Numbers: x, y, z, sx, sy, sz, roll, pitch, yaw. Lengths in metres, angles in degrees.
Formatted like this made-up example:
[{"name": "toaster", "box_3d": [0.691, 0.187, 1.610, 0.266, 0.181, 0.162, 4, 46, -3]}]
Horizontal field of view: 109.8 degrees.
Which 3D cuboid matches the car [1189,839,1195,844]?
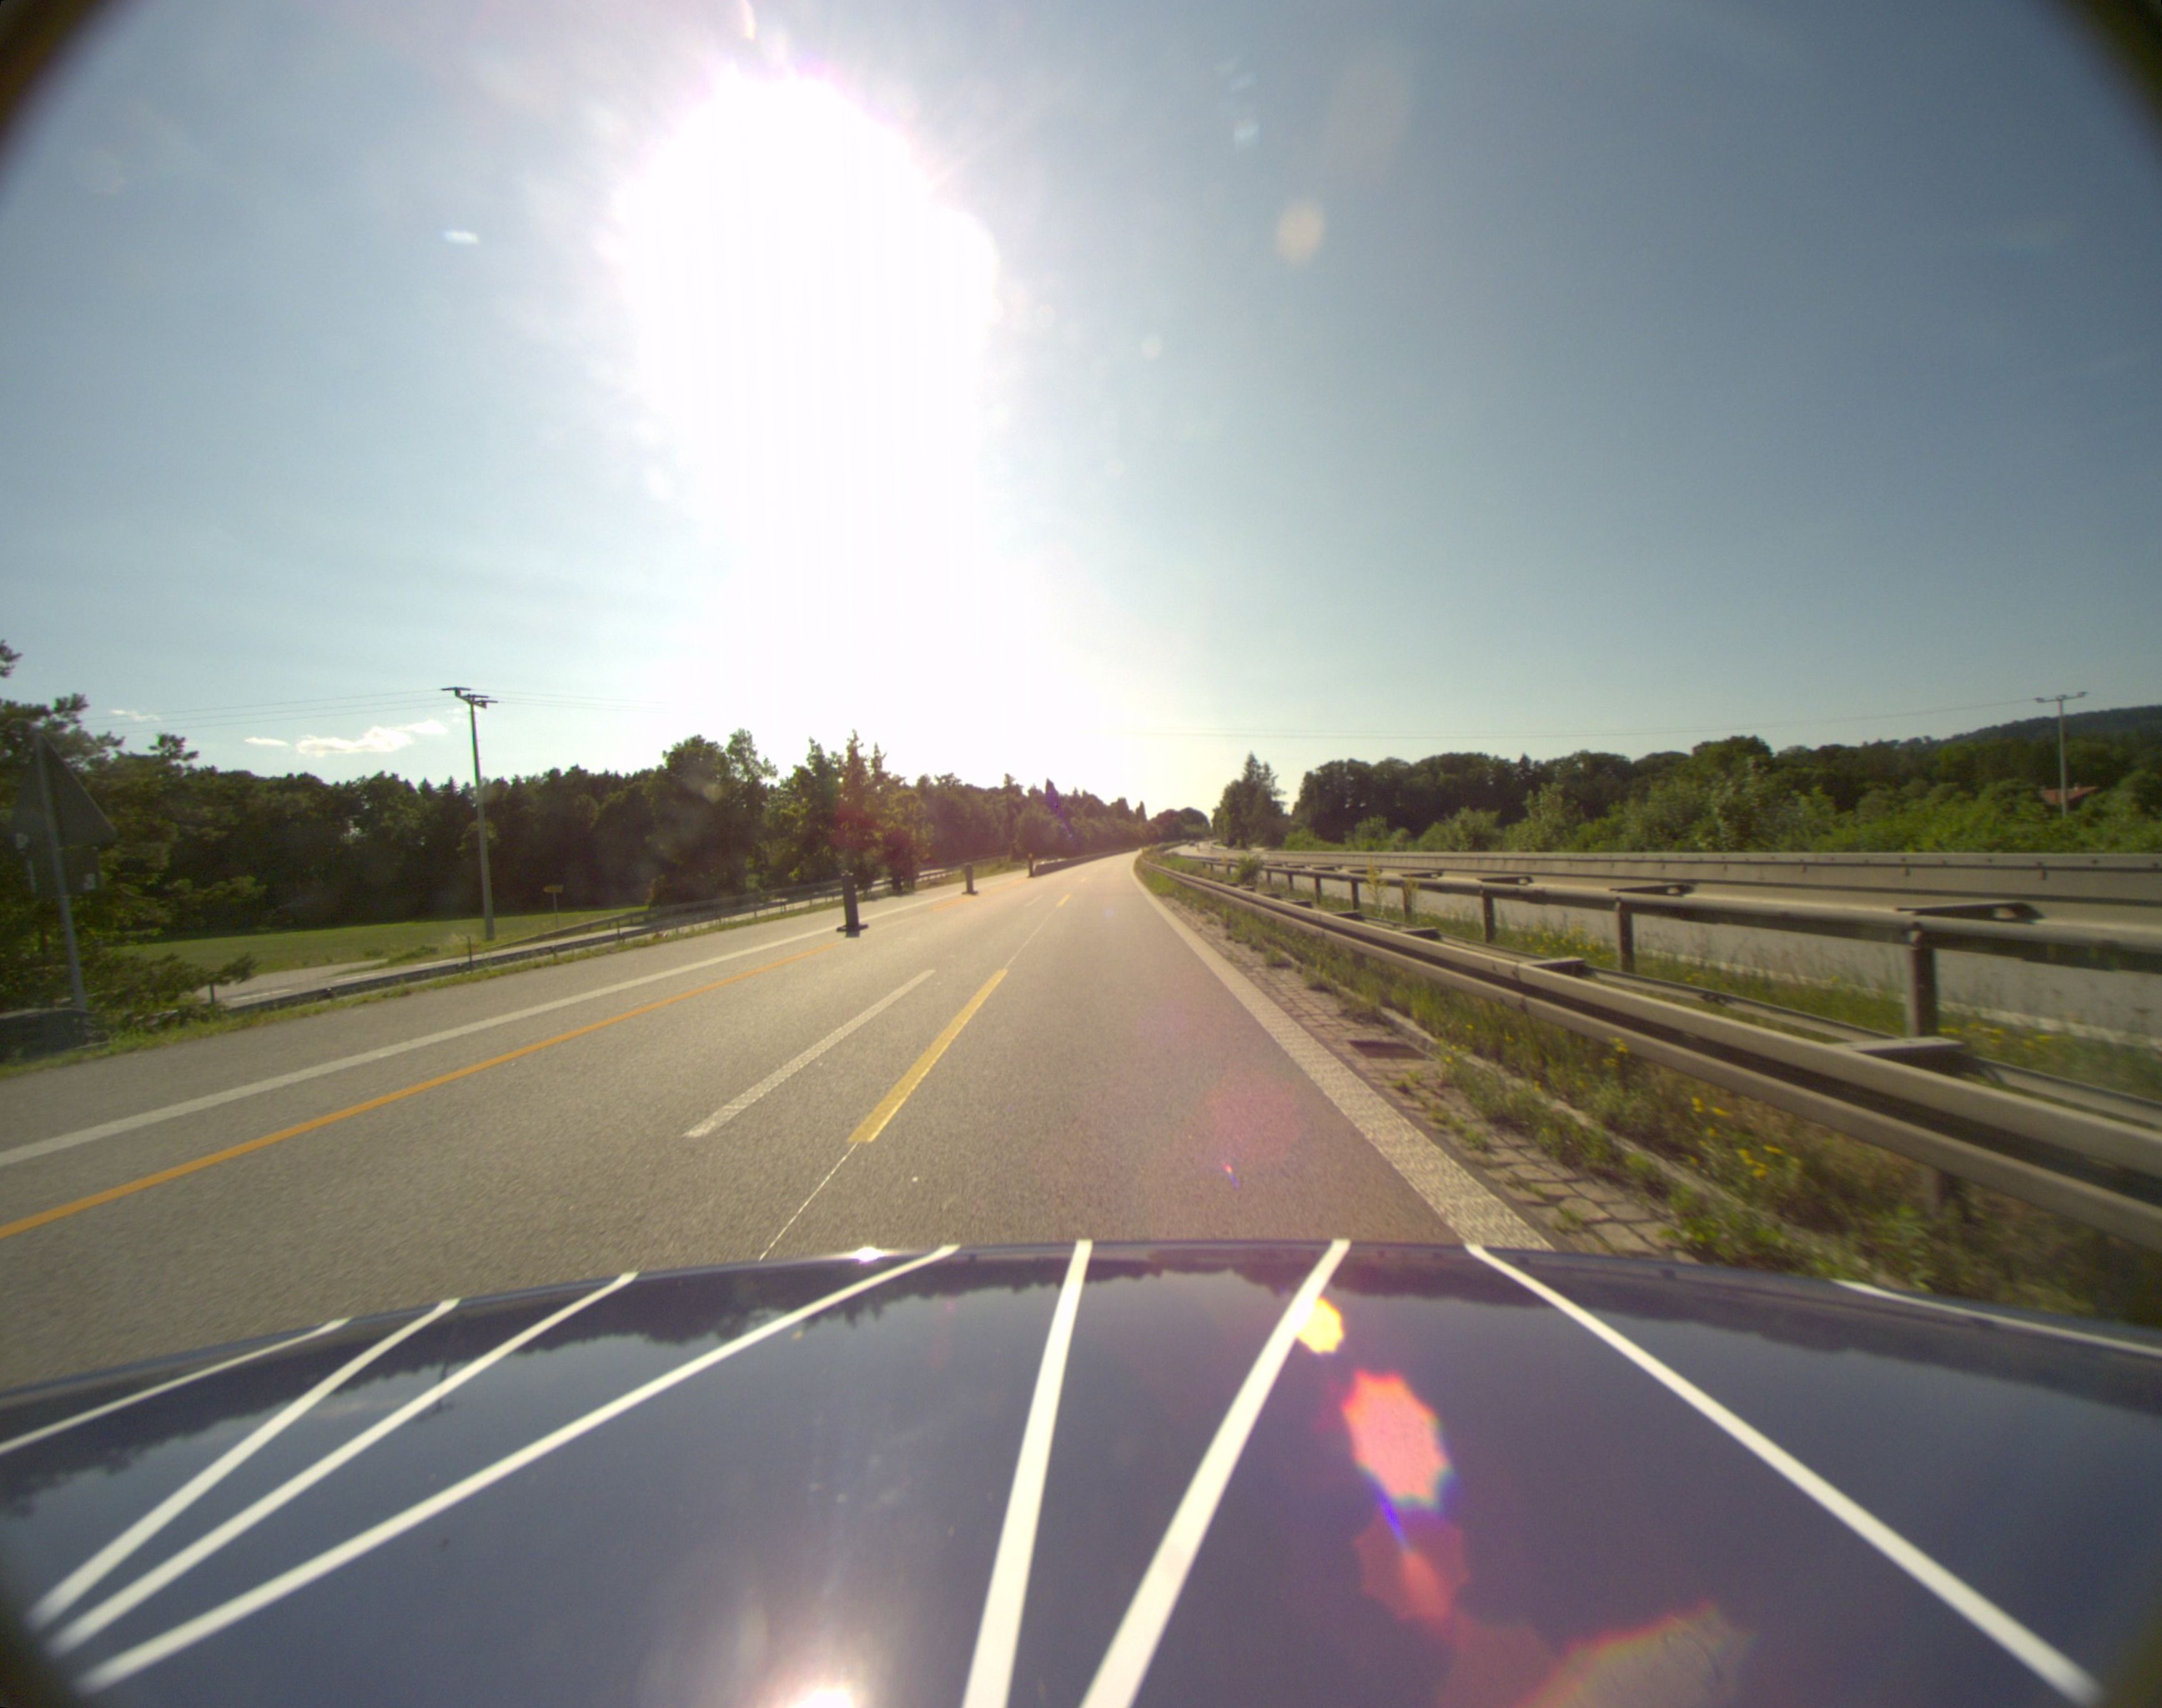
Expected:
[{"name": "car", "box_3d": [32.190, -3.662, 219.976, 1.763, 1.503, 4.537, -2, 2, 9]}]
